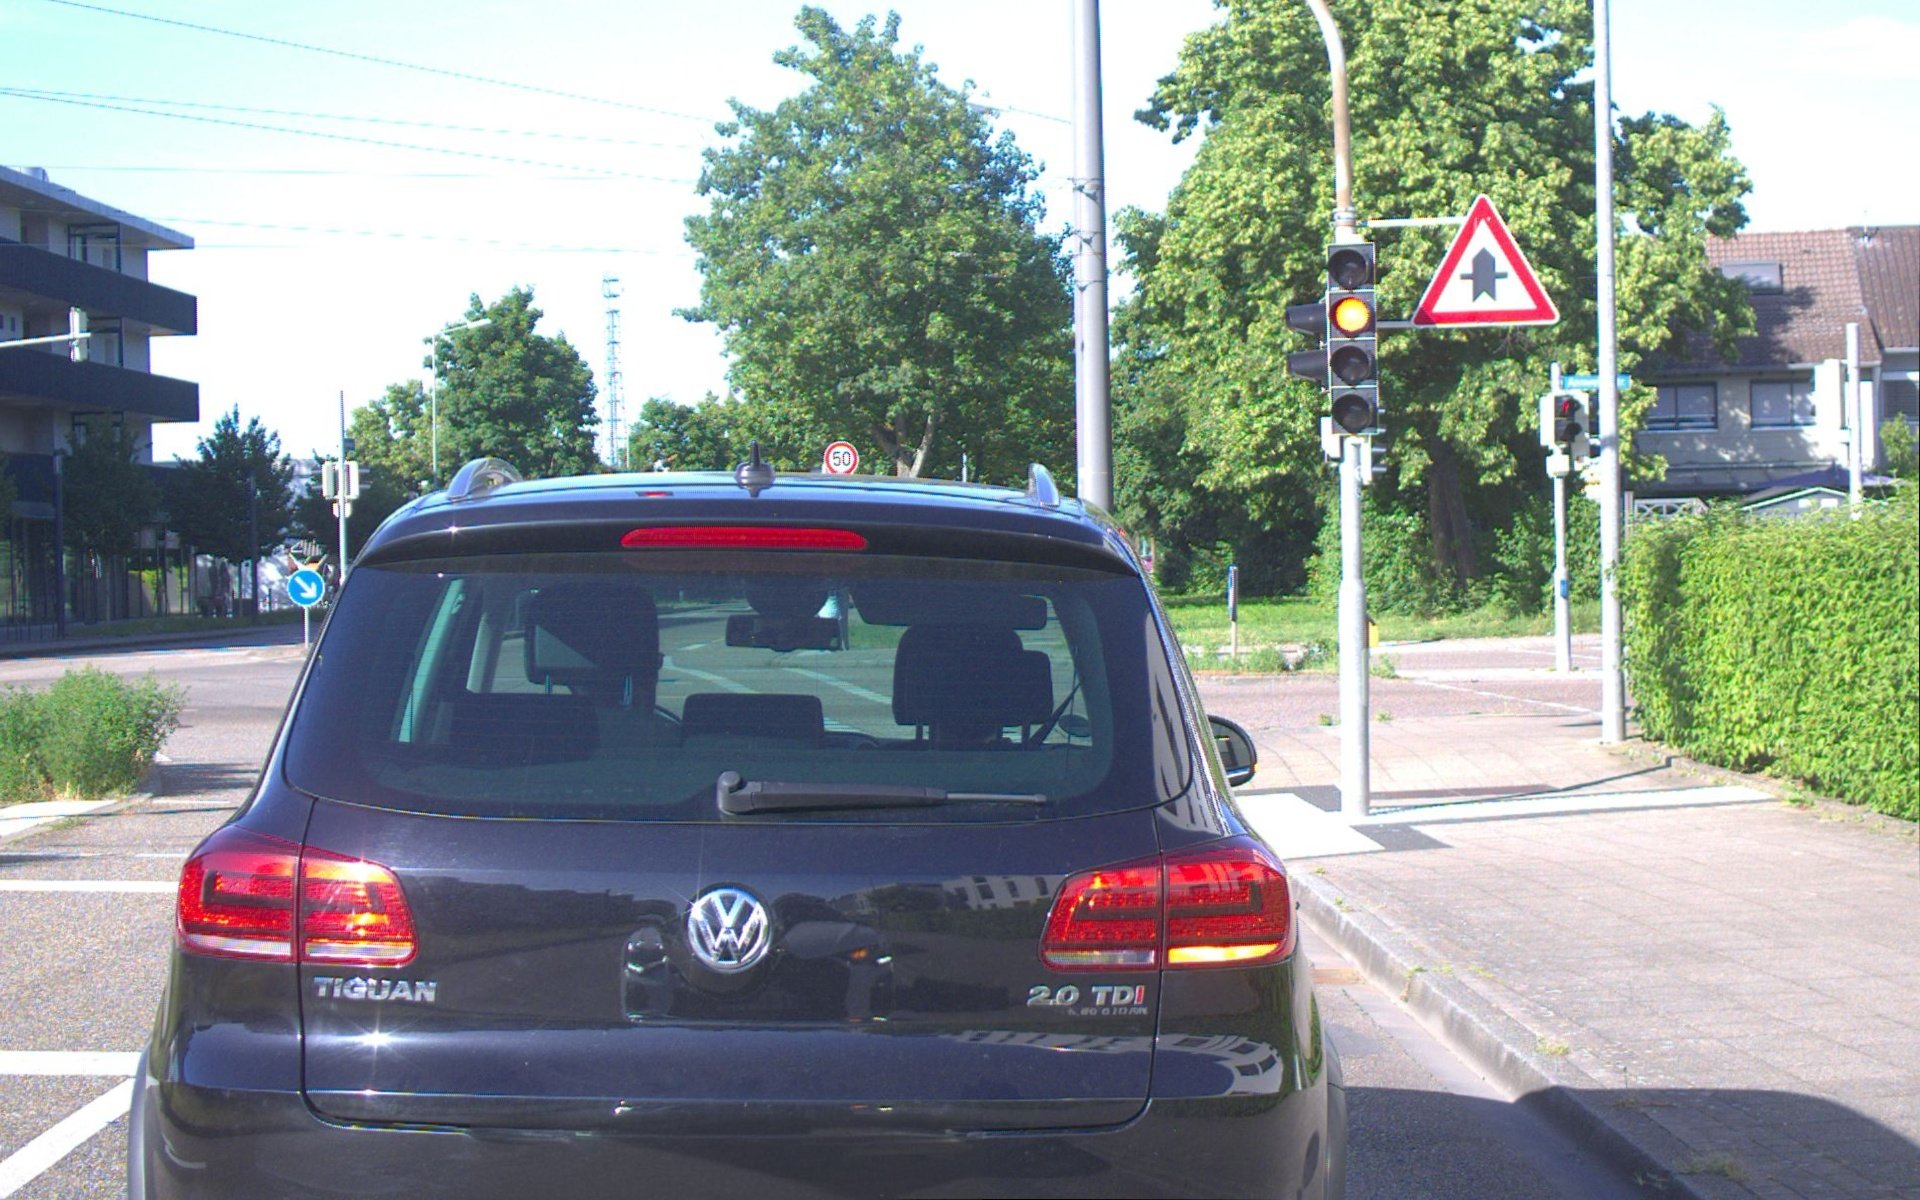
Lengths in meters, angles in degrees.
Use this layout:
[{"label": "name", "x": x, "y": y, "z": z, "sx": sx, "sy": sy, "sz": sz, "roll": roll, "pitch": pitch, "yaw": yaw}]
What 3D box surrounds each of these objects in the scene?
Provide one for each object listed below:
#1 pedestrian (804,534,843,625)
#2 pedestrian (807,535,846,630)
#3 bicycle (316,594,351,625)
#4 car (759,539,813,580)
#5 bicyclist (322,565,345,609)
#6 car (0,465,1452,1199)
[{"label": "pedestrian", "x": -2.346, "y": -0.351, "z": 58.998, "sx": 0.603, "sy": 1.559, "sz": 0.529, "roll": 0, "pitch": 1, "yaw": 4}, {"label": "pedestrian", "x": -2.308, "y": -0.305, "z": 59.526, "sx": 0.603, "sy": 1.634, "sz": 0.529, "roll": 0, "pitch": 1, "yaw": 4}, {"label": "bicycle", "x": -17.843, "y": 0.258, "z": 97.947, "sx": 0.496, "sy": 0.845, "sz": 2.078, "roll": 0, "pitch": 1, "yaw": 3}, {"label": "car", "x": -5.919, "y": -1.385, "z": 117.037, "sx": 1.751, "sy": 1.382, "sz": 4.000, "roll": 0, "pitch": 1, "yaw": -2}, {"label": "bicyclist", "x": -17.842, "y": -0.375, "z": 97.908, "sx": 0.474, "sy": 1.219, "sz": 0.712, "roll": 0, "pitch": 1, "yaw": 3}, {"label": "car", "x": -0.374, "y": 0.611, "z": 6.505, "sx": 1.905, "sy": 1.637, "sz": 4.000, "roll": 0, "pitch": 1, "yaw": -2}]
